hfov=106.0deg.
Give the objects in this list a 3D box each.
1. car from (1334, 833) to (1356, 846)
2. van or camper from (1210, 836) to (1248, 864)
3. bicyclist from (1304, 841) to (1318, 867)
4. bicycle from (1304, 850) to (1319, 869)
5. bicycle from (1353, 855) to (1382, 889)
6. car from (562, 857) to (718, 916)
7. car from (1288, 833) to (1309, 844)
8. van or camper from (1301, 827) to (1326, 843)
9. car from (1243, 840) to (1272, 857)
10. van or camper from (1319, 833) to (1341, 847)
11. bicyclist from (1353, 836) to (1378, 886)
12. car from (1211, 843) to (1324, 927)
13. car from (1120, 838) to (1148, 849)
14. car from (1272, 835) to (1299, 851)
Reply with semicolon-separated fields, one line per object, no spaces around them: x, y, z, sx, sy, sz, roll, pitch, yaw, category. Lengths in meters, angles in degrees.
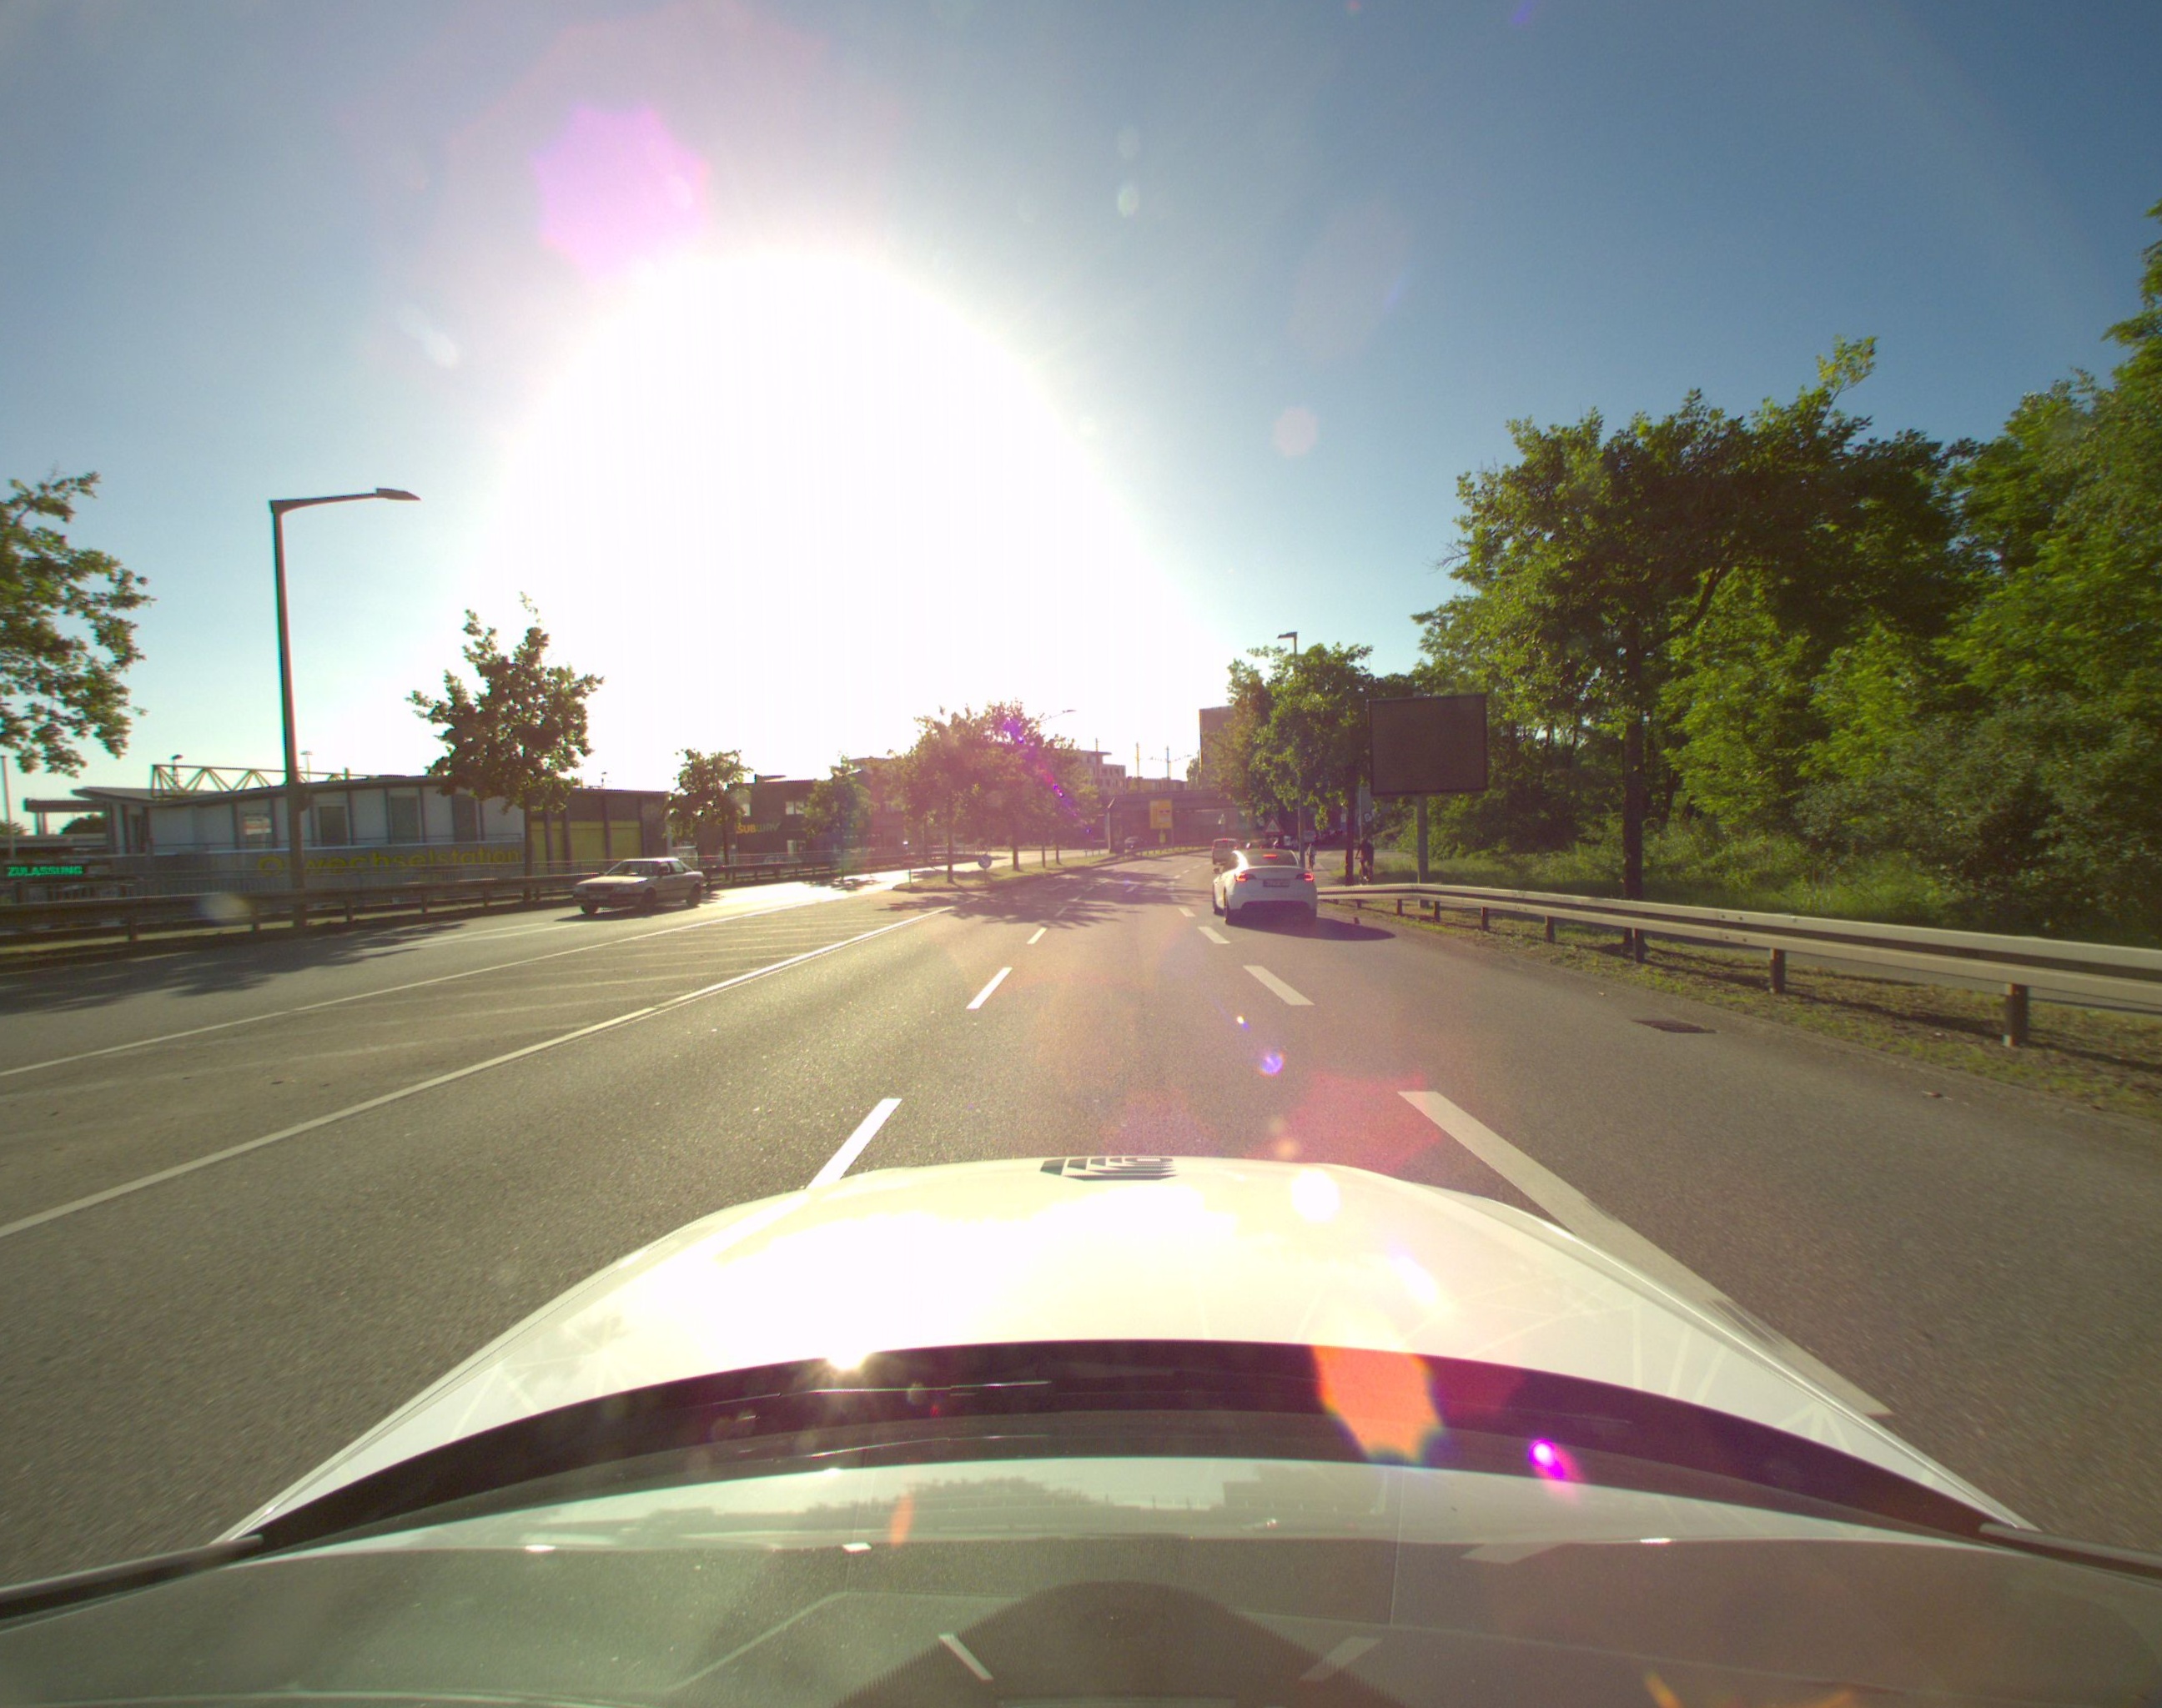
35.030;-1.912;108.134;1.691;1.522;3.767;0;2;35;car
11.031;-0.303;60.629;1.942;1.883;4.905;-1;2;20;van or camper
14.811;-0.011;52.477;0.740;1.619;0.917;-3;0;18;bicyclist
14.847;0.362;52.474;0.737;1.112;2.463;-3;1;18;bicycle
10.274;0.610;29.289;0.690;1.095;2.125;-3;1;13;bicycle
-11.945;0.814;22.462;1.723;1.385;4.498;0;0;2;car
30.840;-2.149;115.603;1.691;1.452;3.767;0;2;35;car
28.050;-2.343;98.243;1.808;1.790;4.574;0;2;31;van or camper
16.440;-0.540;75.662;1.589;1.434;3.702;1;3;29;car
34.973;-1.983;114.394;1.737;1.813;3.985;0;2;36;van or camper
10.328;0.243;29.565;0.670;1.776;0.952;-3;0;13;bicyclist
4.107;0.617;18.648;1.905;1.640;4.417;-2;0;5;car
6.438;-1.274;98.703;1.783;1.310;4.643;0;1;27;car
21.593;-1.164;85.807;1.747;1.475;4.315;-1;2;28;car
